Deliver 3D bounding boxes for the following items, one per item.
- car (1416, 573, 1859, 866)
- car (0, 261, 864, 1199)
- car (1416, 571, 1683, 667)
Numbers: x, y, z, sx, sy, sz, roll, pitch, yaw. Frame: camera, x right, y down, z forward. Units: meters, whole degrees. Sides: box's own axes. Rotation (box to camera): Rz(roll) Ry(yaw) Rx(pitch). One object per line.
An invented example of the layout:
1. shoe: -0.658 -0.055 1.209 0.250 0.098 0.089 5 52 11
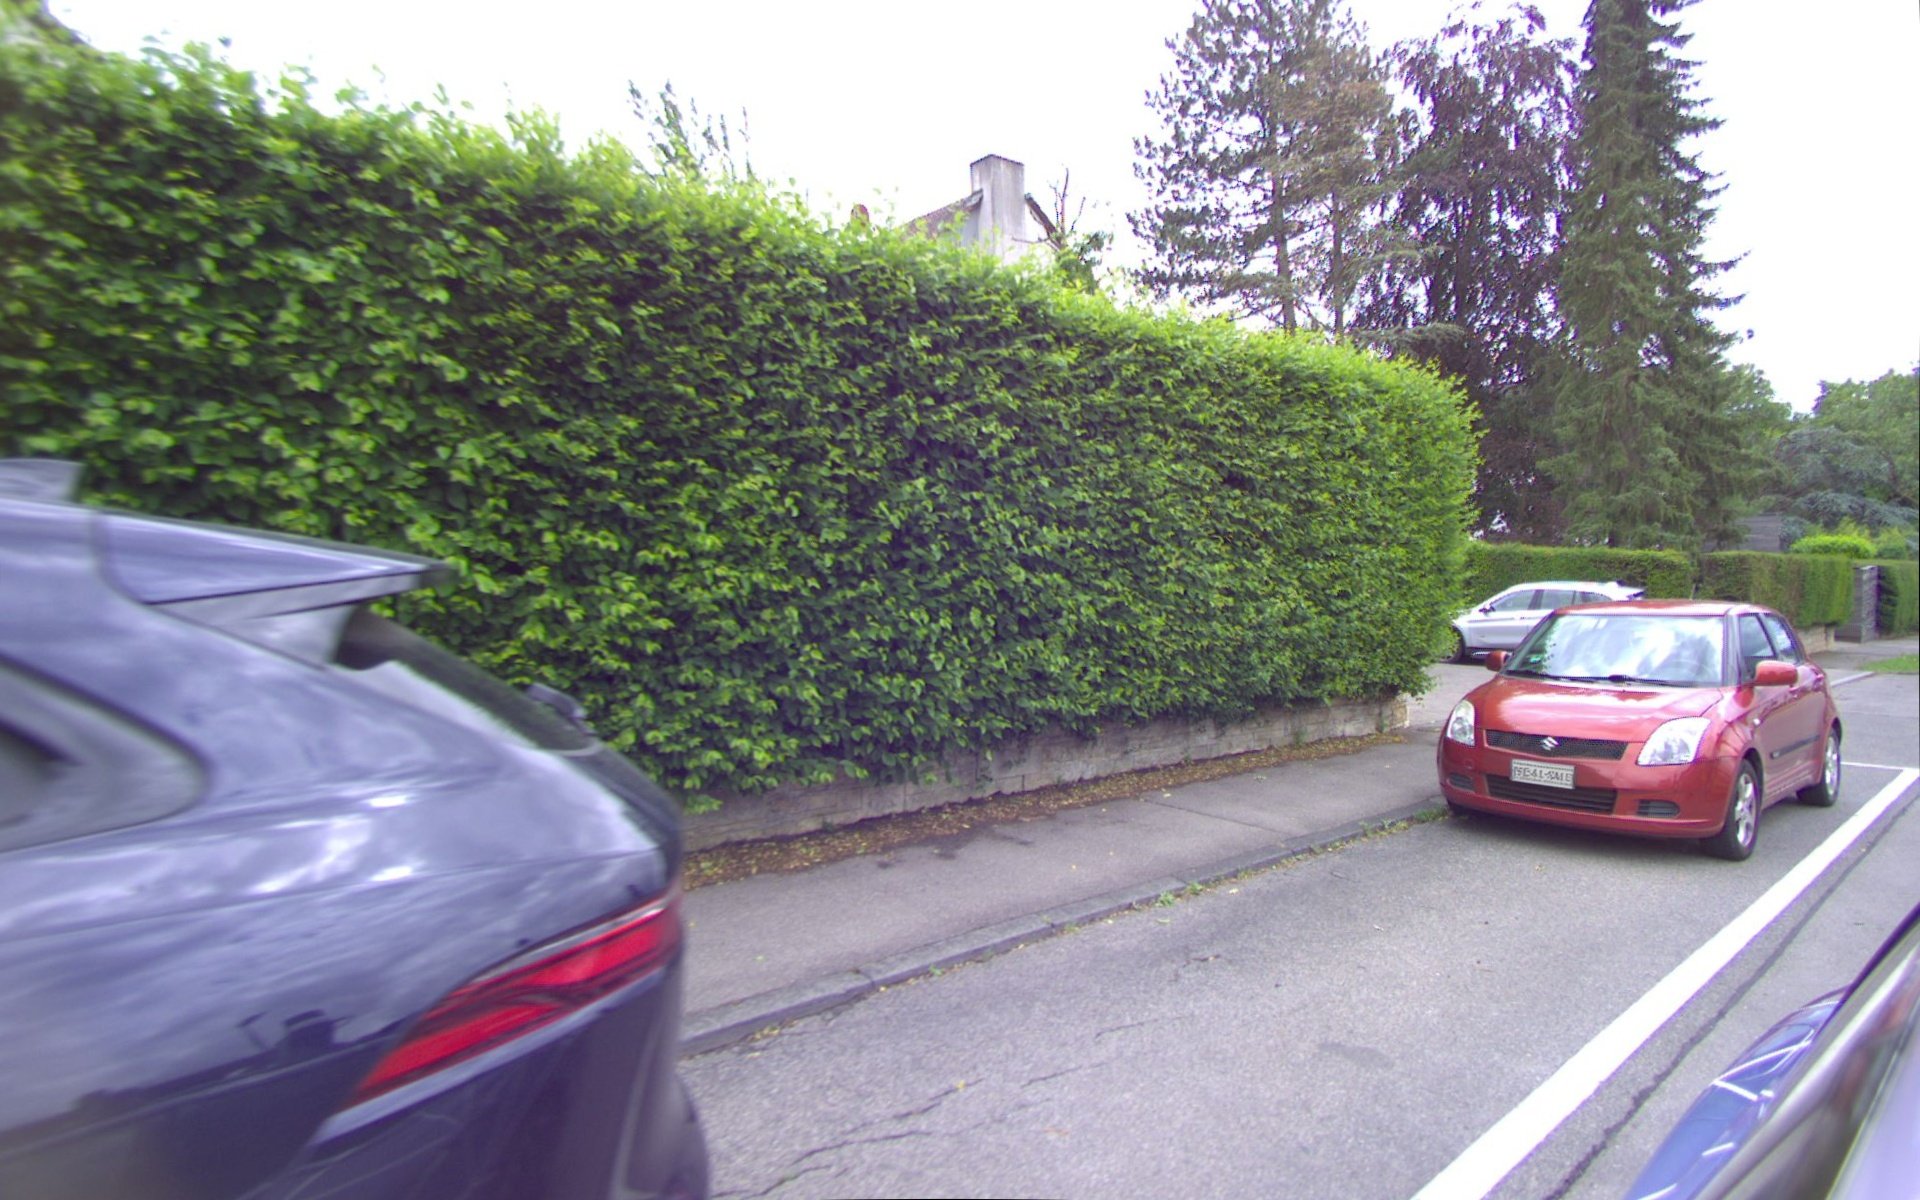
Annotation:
1. car: 4.891 0.597 7.121 3.692 1.527 1.664 0 1 -41
2. car: -2.441 0.623 0.488 4.432 1.638 1.998 -1 0 -39
3. car: 11.356 0.272 19.645 4.204 1.619 1.854 2 2 41
